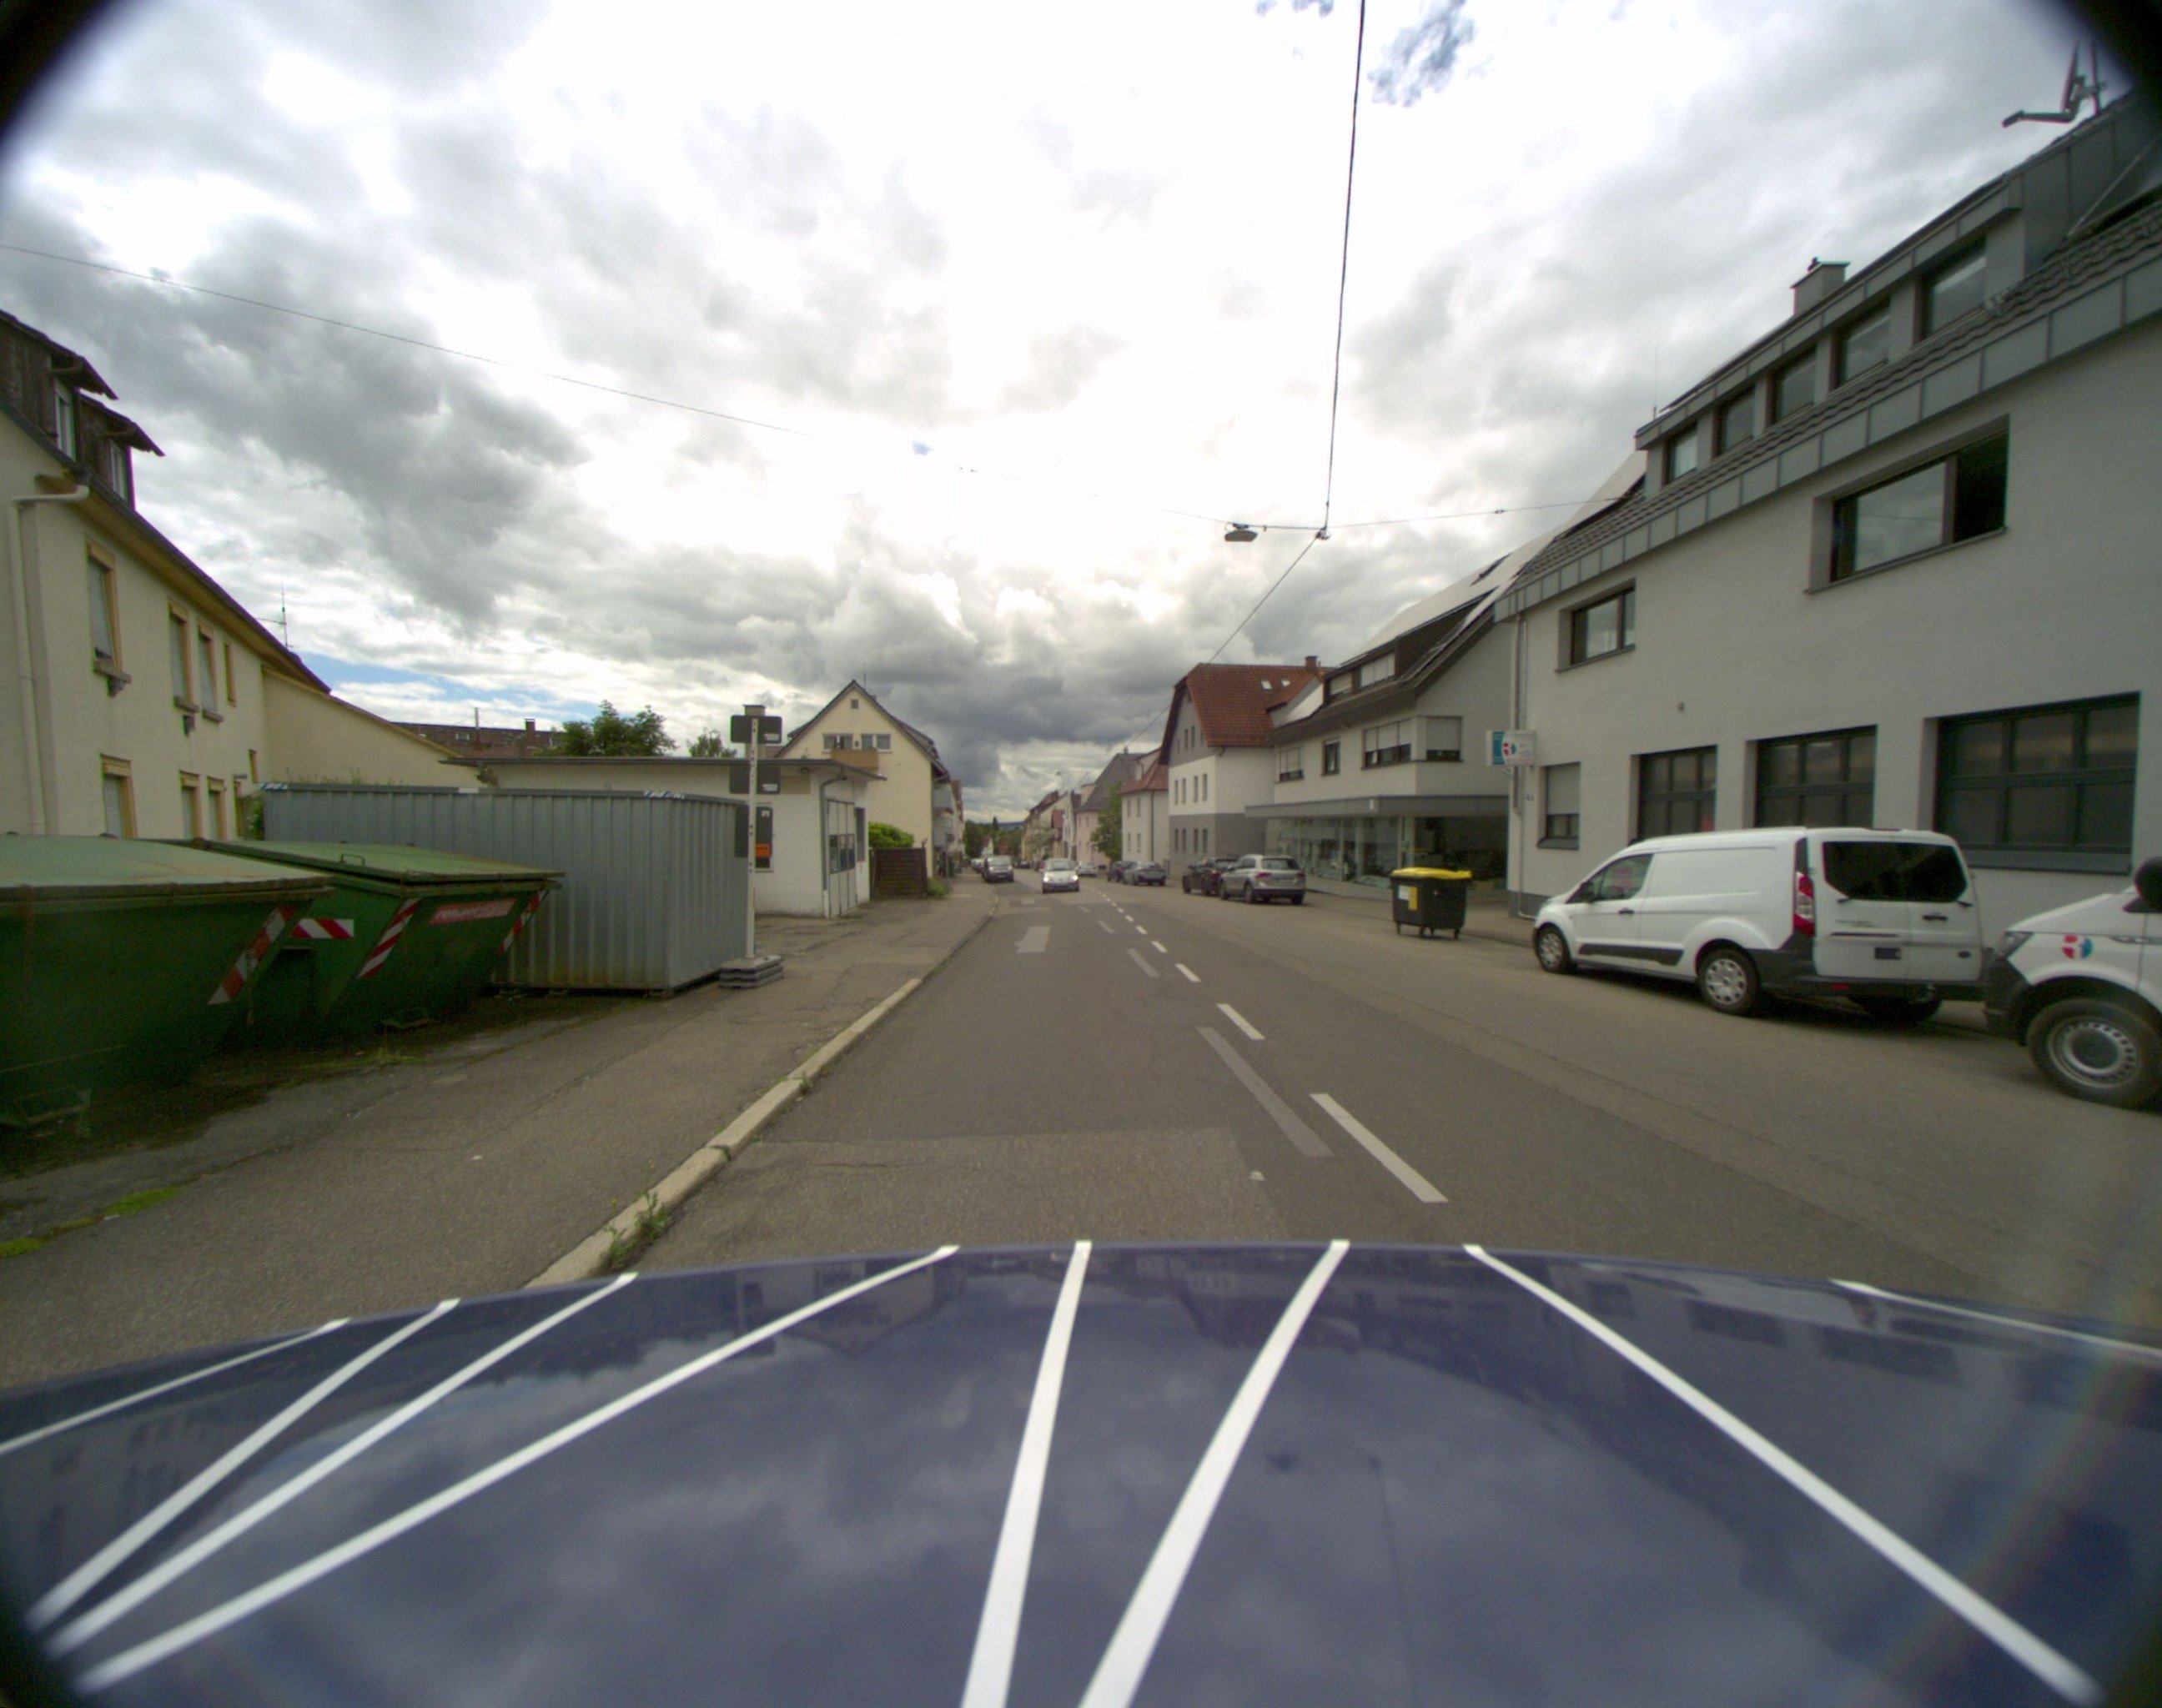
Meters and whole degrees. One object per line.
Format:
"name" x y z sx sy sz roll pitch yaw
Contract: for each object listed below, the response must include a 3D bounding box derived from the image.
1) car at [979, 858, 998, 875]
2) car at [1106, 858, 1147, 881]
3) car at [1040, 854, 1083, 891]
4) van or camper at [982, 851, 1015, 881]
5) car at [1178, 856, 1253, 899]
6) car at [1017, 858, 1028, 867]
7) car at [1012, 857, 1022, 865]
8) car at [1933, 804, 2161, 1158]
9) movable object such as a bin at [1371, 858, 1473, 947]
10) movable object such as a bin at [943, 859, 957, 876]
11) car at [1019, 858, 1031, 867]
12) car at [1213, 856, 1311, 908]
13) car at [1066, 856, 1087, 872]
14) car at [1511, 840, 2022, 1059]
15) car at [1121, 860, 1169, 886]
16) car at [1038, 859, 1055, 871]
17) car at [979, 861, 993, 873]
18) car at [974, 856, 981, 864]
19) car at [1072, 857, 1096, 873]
"car" -8.644 1.110 70.828 1.614 1.447 3.856 -3 0 -9
"car" 3.045 1.043 52.049 1.844 1.437 3.996 1 0 -11
"car" -1.007 0.857 36.499 1.722 1.587 3.998 -3 0 -5
"van or camper" -6.075 0.852 55.564 2.000 2.002 5.060 -3 0 -9
"car" 5.531 0.929 31.834 1.843 1.623 4.405 1 0 -8
"car" -11.035 1.537 142.728 1.707 1.523 3.733 2 0 -9
"car" -13.676 1.537 162.379 1.707 1.523 3.733 2 0 -9
"car" 6.992 0.730 3.032 1.816 1.994 4.763 1 0 0
"movable object such as a bin" 6.632 0.906 14.867 1.144 1.623 1.562 1 0 -8
"movable object such as a bin" -11.615 1.192 67.268 1.083 1.428 1.259 -3 1 -8
"car" -10.107 1.532 137.109 1.707 1.523 3.733 2 0 -9
"car" 6.139 0.905 26.349 1.843 1.623 4.405 1 0 -8
"car" -0.456 0.970 73.426 1.654 1.438 3.772 0 0 -6
"car" 6.998 0.818 8.548 1.738 1.821 4.297 1 0 -2
"car" 3.772 1.124 45.605 1.843 1.437 4.464 1 0 -8
"car" -4.587 1.409 100.373 1.707 1.523 3.733 2 0 -9
"car" -12.502 1.732 99.642 1.614 1.447 3.856 -3 0 -9
"car" -25.838 1.415 189.464 1.614 1.789 3.856 -3 1 -9
"car" 0.249 0.979 68.329 1.655 1.438 3.808 0 0 -8
